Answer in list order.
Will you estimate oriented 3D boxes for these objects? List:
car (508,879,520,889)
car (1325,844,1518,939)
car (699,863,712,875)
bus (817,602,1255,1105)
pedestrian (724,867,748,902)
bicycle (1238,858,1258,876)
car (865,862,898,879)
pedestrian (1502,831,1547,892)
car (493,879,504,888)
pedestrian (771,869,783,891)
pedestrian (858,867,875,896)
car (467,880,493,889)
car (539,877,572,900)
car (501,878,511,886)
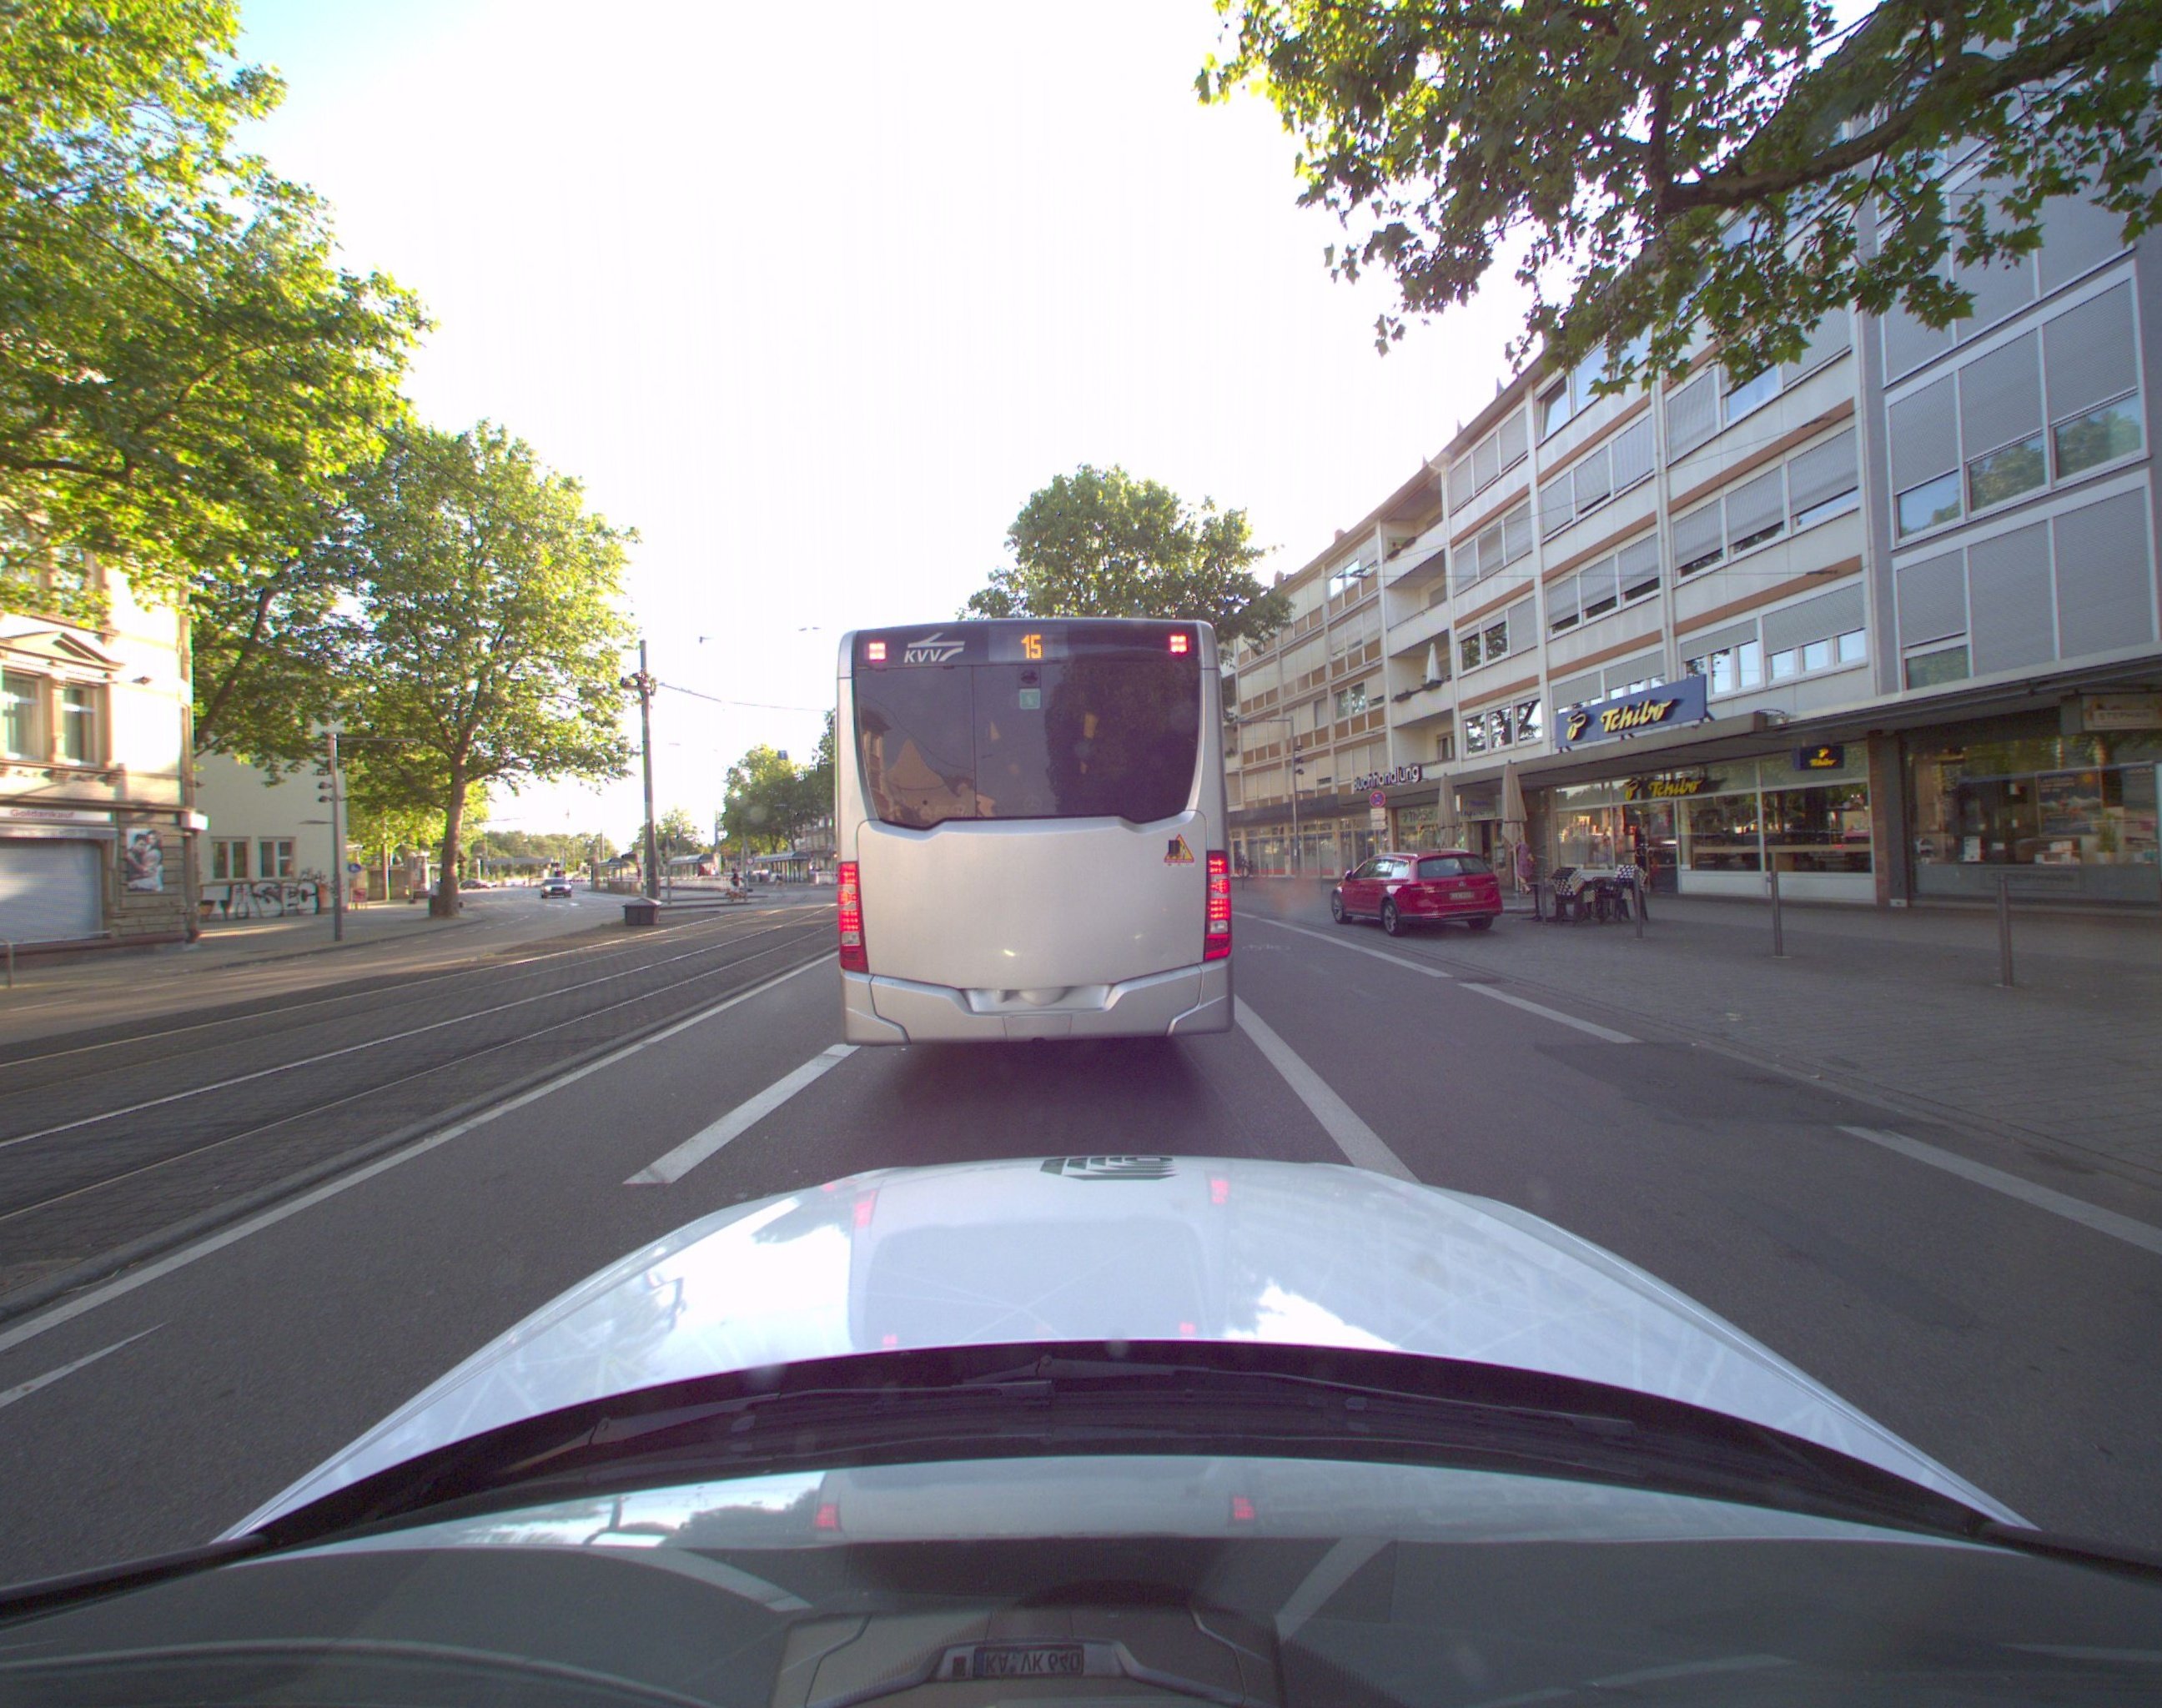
[{"bbox_3d":[-111.428,5.863,160.029,1.858,1.684,3.677,-4,1,-35],"label":"car"},{"bbox_3d":[6.366,0.640,15.831,1.765,1.482,4.300,-3,0,-2],"label":"car"},{"bbox_3d":[-67.136,2.680,145.582,1.629,2.014,3.080,-2,-1,-32],"label":"car"},{"bbox_3d":[-0.259,0.017,9.968,2.622,3.028,9.995,-1,0,0],"label":"bus"},{"bbox_3d":[-17.300,1.519,40.841,0.893,1.728,0.518,-2,-1,3],"label":"pedestrian"},{"bbox_3d":[9.337,0.732,45.466,0.413,0.945,1.431,-2,-1,-18],"label":"bicycle"},{"bbox_3d":[-21.804,1.778,88.890,2.010,1.792,3.954,0,-1,-39],"label":"car"},{"bbox_3d":[11.962,0.200,21.966,0.649,1.592,0.788,-4,-1,-4],"label":"pedestrian"},{"bbox_3d":[-117.810,6.050,164.690,1.858,1.684,3.676,-2,-1,-35],"label":"car"},{"bbox_3d":[-23.463,1.974,62.850,0.661,1.656,0.438,-2,-1,-41],"label":"pedestrian"},{"bbox_3d":[-10.974,1.404,41.742,0.767,1.450,0.636,0,-1,-8],"label":"pedestrian"},{"bbox_3d":[-122.648,6.286,166.154,1.768,1.640,4.024,-3,-1,44],"label":"car"},{"bbox_3d":[-40.048,2.598,62.077,2.008,1.640,3.958,-2,-1,-33],"label":"car"},{"bbox_3d":[-130.071,6.432,184.210,1.858,1.684,3.676,-2,-1,-35],"label":"car"}]
